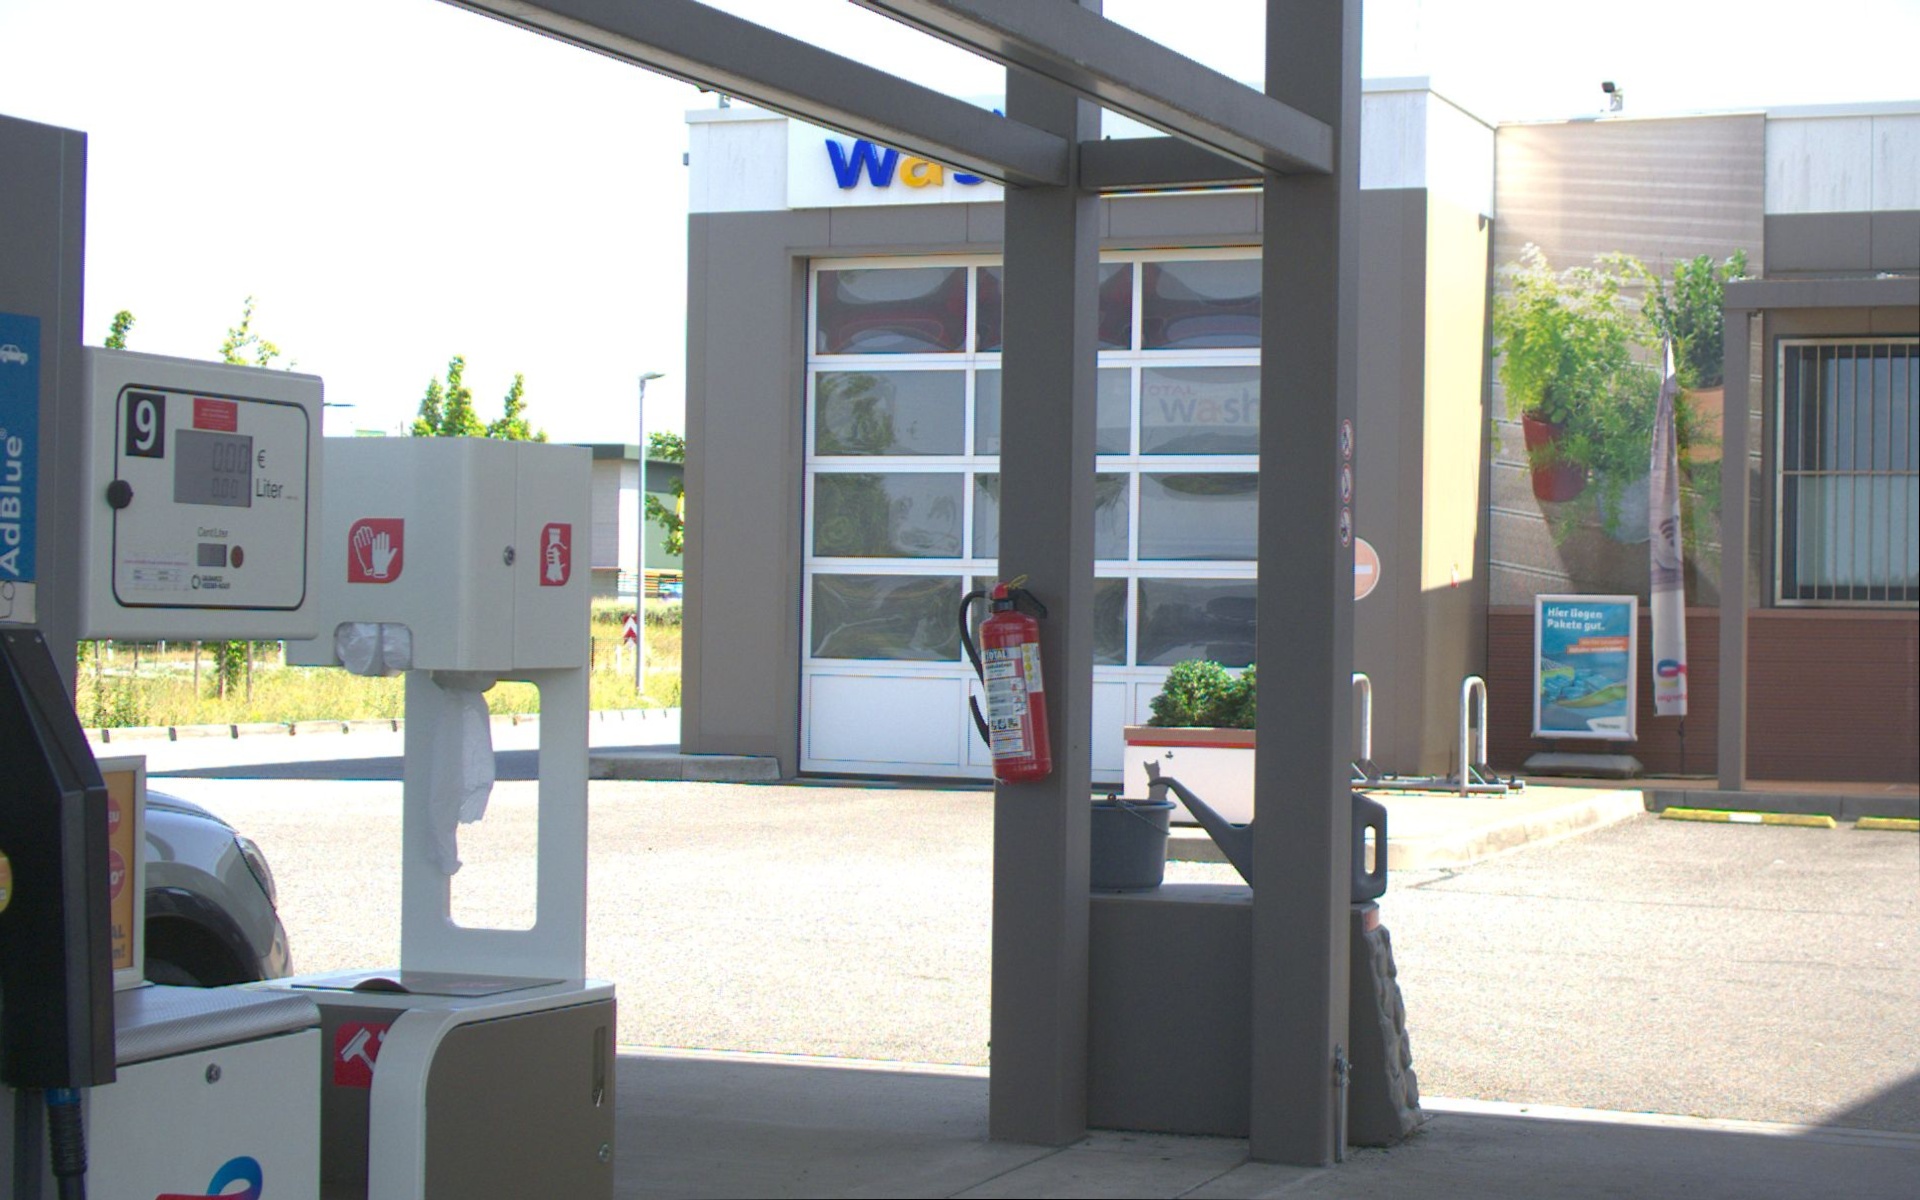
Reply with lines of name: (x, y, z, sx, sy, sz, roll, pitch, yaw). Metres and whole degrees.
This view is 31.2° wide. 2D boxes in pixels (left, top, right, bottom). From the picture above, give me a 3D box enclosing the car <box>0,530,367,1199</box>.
car: (-2.922, 0.626, 5.598, 1.782, 1.536, 4.320, 1, 0, 23)
